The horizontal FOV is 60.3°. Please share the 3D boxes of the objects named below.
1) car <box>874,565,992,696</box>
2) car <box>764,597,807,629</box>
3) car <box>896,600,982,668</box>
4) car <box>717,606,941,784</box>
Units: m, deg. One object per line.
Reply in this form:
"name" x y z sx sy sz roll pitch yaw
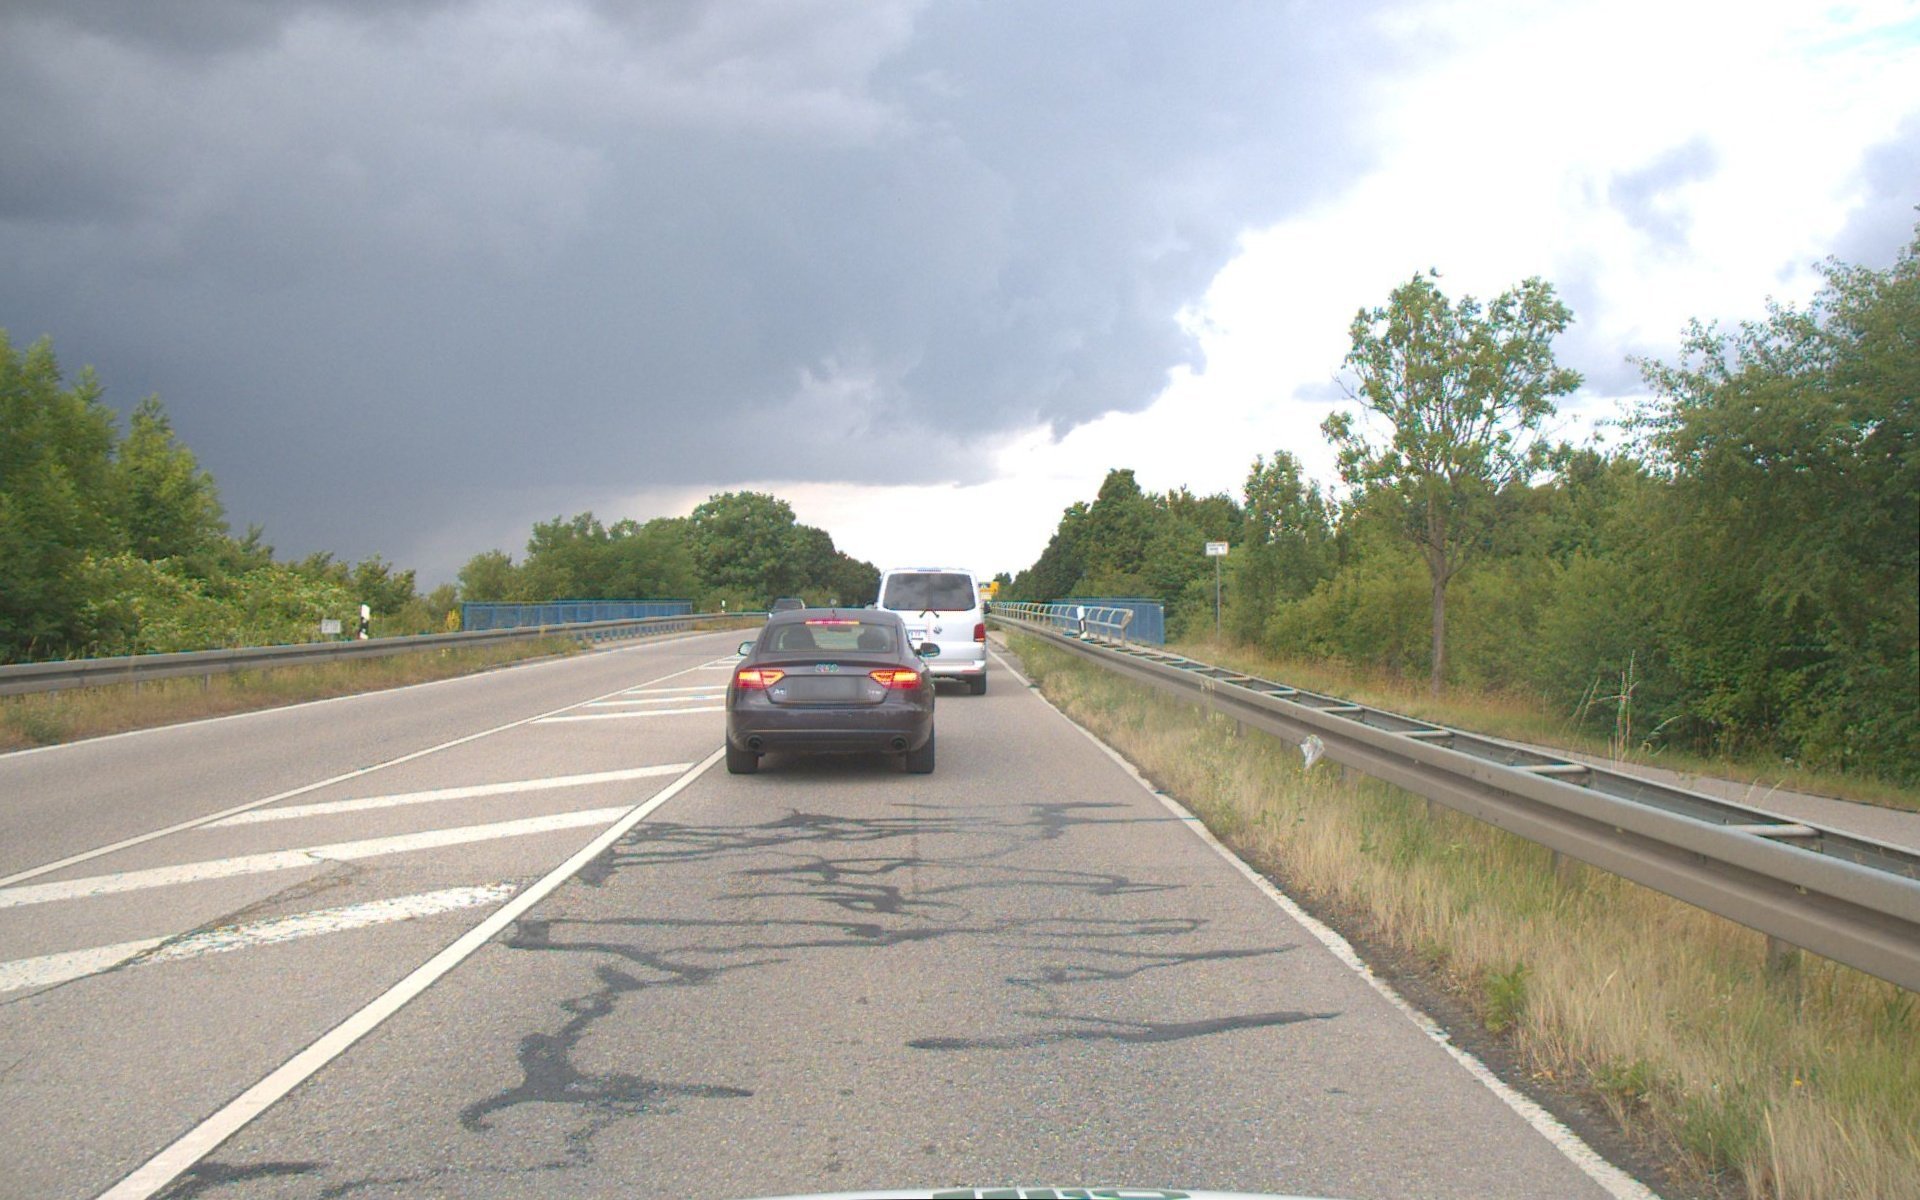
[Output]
"car" -0.447 0.472 27.246 1.791 1.969 3.999 -1 0 -1
"car" -8.486 0.621 80.559 1.763 1.475 4.444 -1 0 -2
"car" -0.425 0.709 36.442 1.784 1.405 4.071 0 0 0
"car" -1.084 0.763 15.289 1.784 1.405 4.071 -1 0 -1
